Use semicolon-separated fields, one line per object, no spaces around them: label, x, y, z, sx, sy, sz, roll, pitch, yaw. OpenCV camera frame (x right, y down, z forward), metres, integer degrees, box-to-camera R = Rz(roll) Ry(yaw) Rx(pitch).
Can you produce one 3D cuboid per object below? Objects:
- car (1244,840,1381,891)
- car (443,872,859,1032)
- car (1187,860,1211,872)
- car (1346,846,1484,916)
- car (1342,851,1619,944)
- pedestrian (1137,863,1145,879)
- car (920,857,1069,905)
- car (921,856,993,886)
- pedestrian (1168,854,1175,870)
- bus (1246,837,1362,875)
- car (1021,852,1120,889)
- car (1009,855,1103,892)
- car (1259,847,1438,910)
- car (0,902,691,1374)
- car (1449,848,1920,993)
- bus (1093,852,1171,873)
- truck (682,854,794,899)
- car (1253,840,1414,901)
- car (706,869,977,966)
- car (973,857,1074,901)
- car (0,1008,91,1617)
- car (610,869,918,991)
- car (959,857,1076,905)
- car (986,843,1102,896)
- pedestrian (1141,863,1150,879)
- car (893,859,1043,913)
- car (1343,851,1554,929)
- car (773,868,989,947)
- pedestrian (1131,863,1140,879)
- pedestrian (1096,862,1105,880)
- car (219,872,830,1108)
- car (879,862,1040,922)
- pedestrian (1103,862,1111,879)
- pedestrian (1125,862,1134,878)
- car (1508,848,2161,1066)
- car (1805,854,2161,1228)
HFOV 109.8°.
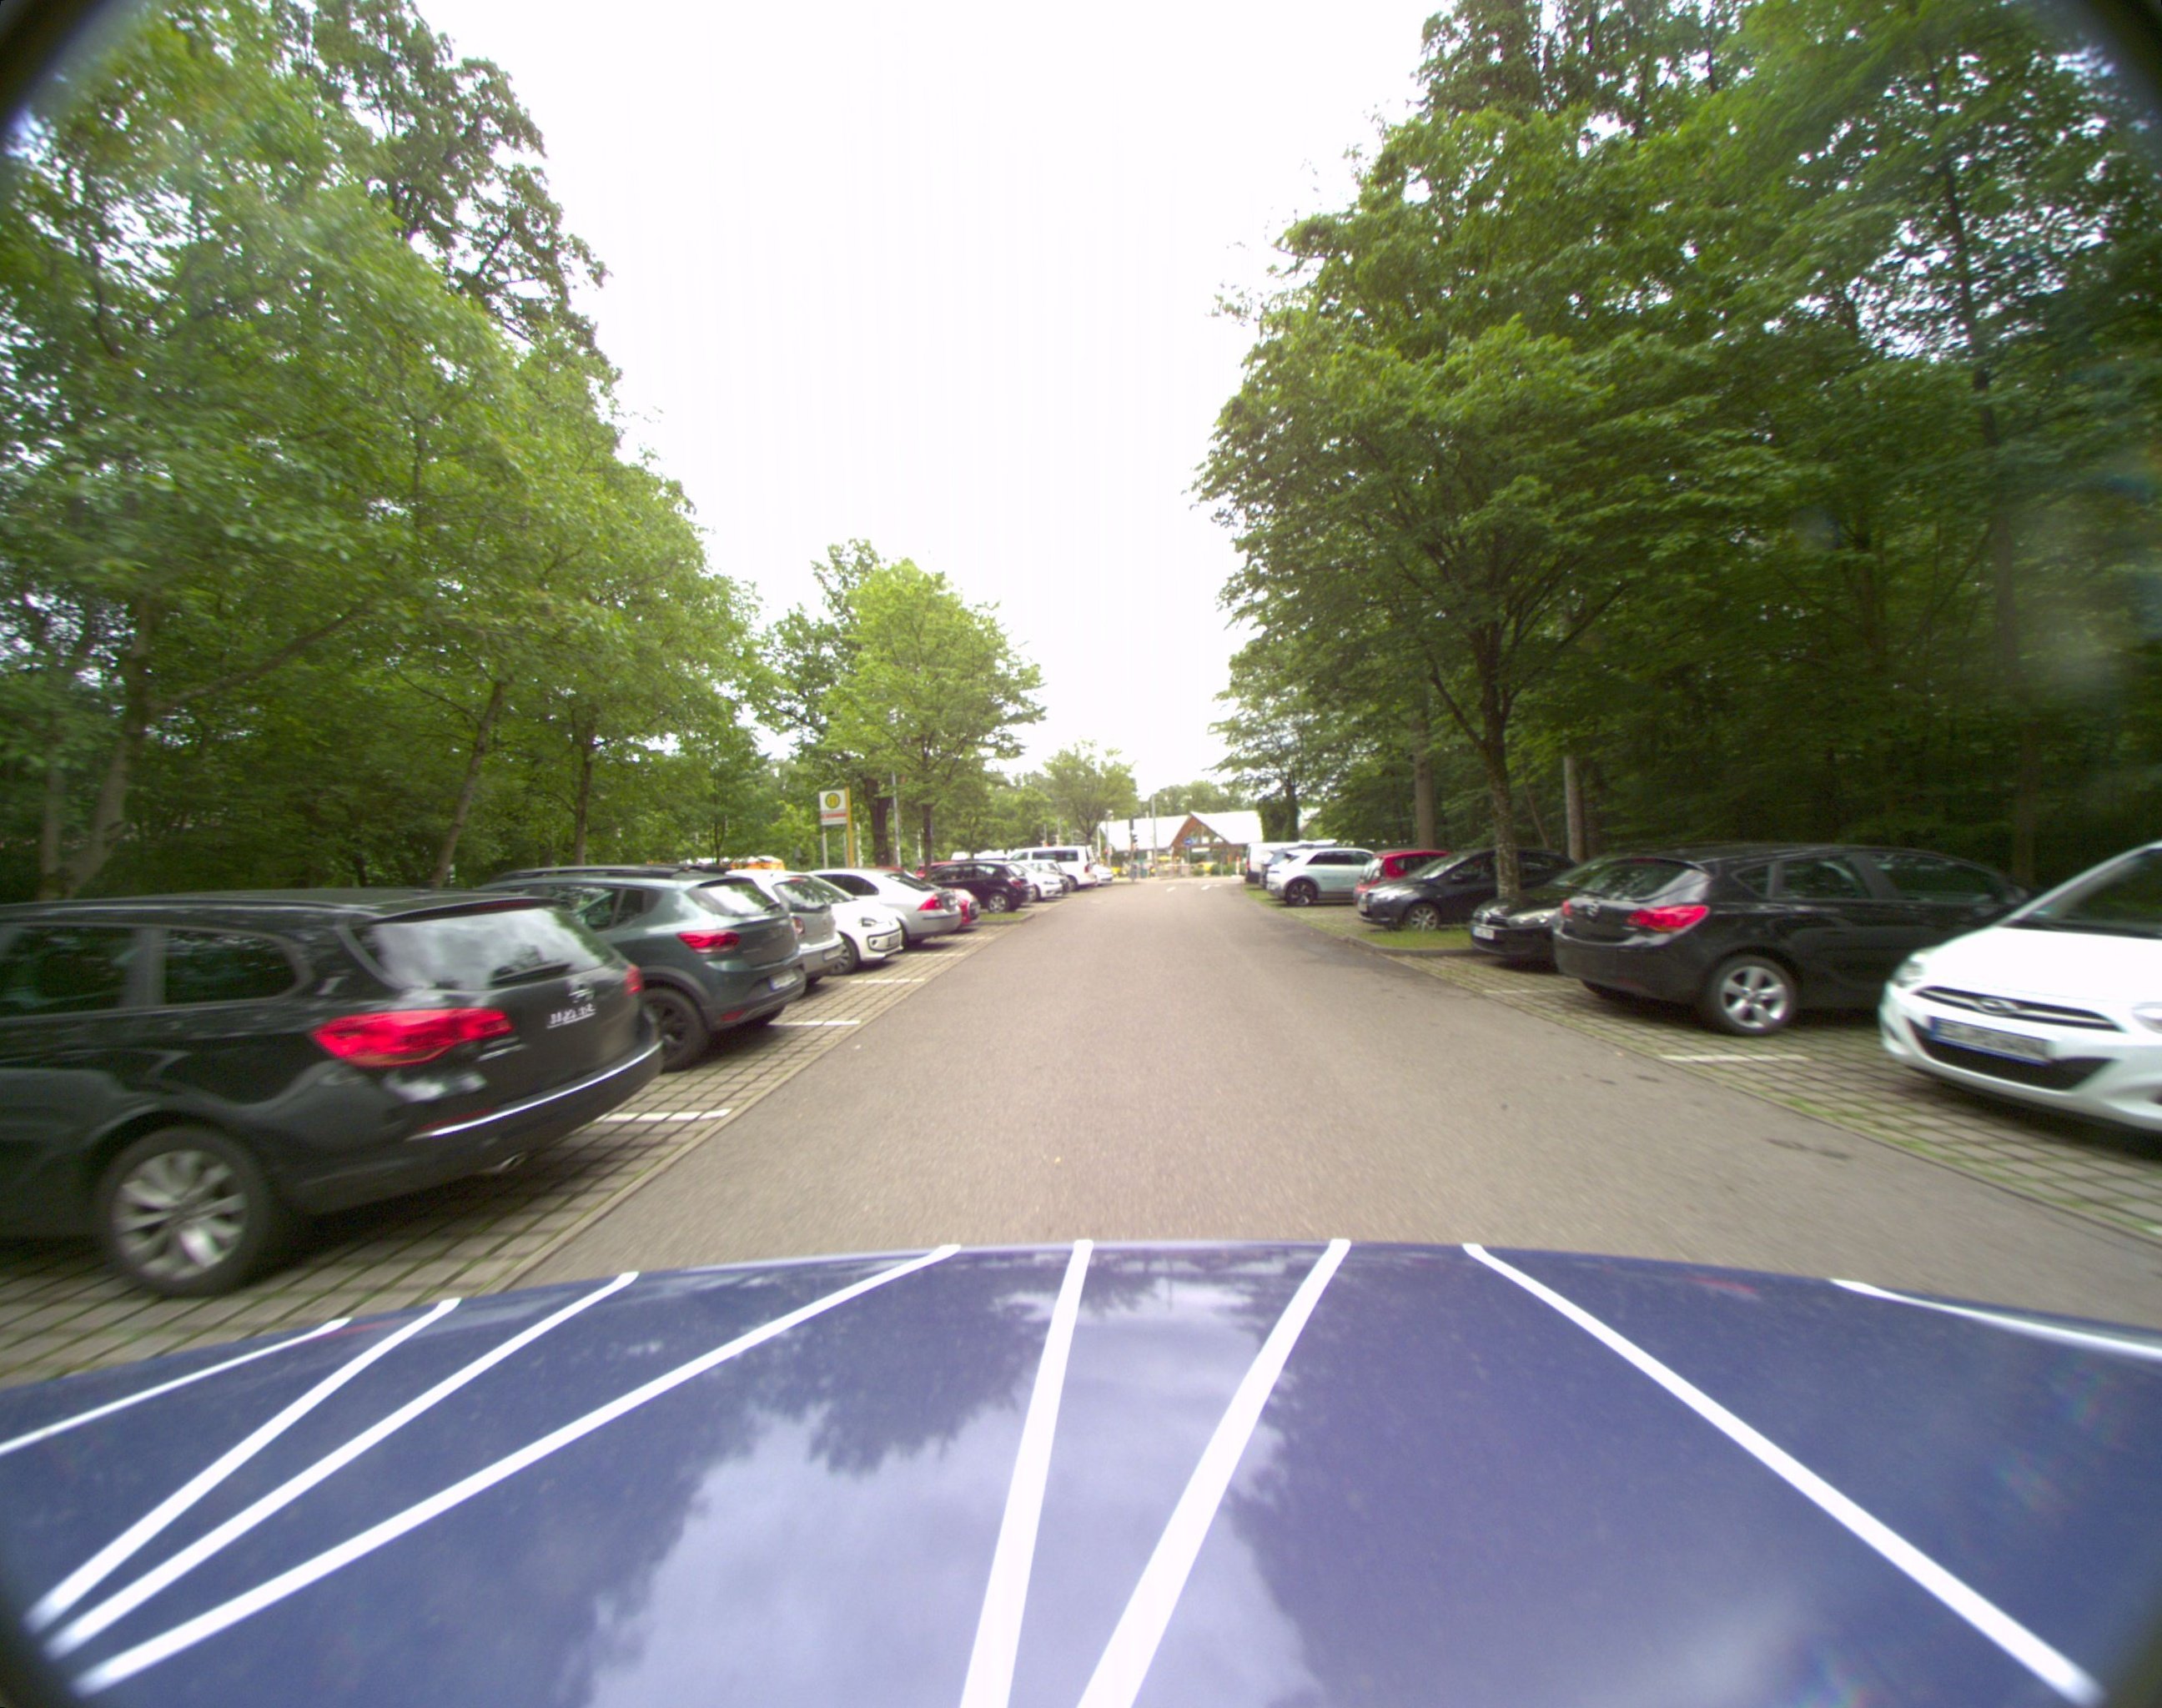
car;9.217;0.458;30.677;5.094;1.904;1.980;-1;0;12
car;-4.829;1.068;8.931;3.852;1.537;1.730;-2;0;1
car;25.699;2.625;165.235;1.995;2.478;6.161;-5;-3;43
car;7.990;0.642;18.349;2.666;1.532;1.446;-2;0;4
car;6.934;0.732;13.506;3.996;1.482;1.708;-1;0;3
pedestrian;6.637;1.880;84.347;0.600;1.746;0.667;-2;-2;-24
car;-2.963;0.928;26.445;4.780;1.467;1.854;-2;-1;10
car;-8.287;1.165;50.803;4.578;1.739;2.000;-3;-2;-8
pedestrian;9.818;0.855;82.341;0.655;1.746;0.668;-3;-2;0
bus;20.226;0.155;68.684;10.530;3.139;2.808;-1;-2;-23
car;-0.513;0.821;38.785;4.526;1.683;2.168;-2;0;16
car;-1.191;0.919;36.395;4.002;1.546;1.949;-3;-1;17
car;7.318;0.659;21.191;4.363;1.588;2.032;-1;1;8
car;-4.160;1.074;3.479;3.778;1.472;1.773;-2;0;-2
car;6.997;0.732;9.179;4.243;1.465;1.720;-2;1;3
bus;9.619;1.521;139.095;3.969;3.461;18.617;-5;-3;39
truck;-29.040;1.896;64.541;8.238;3.493;2.870;-2;-1;5
car;7.729;0.513;23.678;4.433;1.684;2.173;-2;0;9
car;-4.125;1.084;13.497;4.135;1.453;1.865;-2;1;5
car;-2.321;1.043;31.170;3.729;1.545;1.848;-4;-2;9
car;-4.535;1.157;1.001;3.942;1.402;1.878;-2;0;0
car;-4.486;1.057;11.134;3.710;1.502;1.751;-2;1;3
car;-2.362;1.005;28.742;3.994;1.475;1.878;-4;1;9
car;-1.600;0.702;33.713;4.657;2.008;2.085;-4;-2;11
pedestrian;7.164;1.885;84.665;0.600;1.746;0.667;-2;-2;-24
car;-3.462;0.978;23.786;4.237;1.472;1.920;-2;0;7
car;7.592;0.730;15.981;3.614;1.465;1.675;-2;0;7
car;-4.138;1.089;16.179;3.996;1.441;1.941;-2;0;3
pedestrian;6.086;1.902;84.732;0.669;1.746;0.561;-2;-3;-38
pedestrian;2.041;1.777;79.656;0.736;1.746;0.668;-3;-2;-1
car;-4.402;1.024;6.506;3.777;1.580;1.950;-2;0;2
car;-3.302;1.032;21.179;3.995;1.474;1.923;-2;0;7
pedestrian;2.759;1.747;79.878;0.736;1.746;0.668;-3;-2;-2
pedestrian;5.447;1.754;85.208;0.732;1.746;0.738;-4;-2;25
car;6.404;0.769;6.586;4.242;1.521;2.007;-2;0;4
car;6.660;0.767;3.888;4.244;1.524;1.762;-1;0;0
